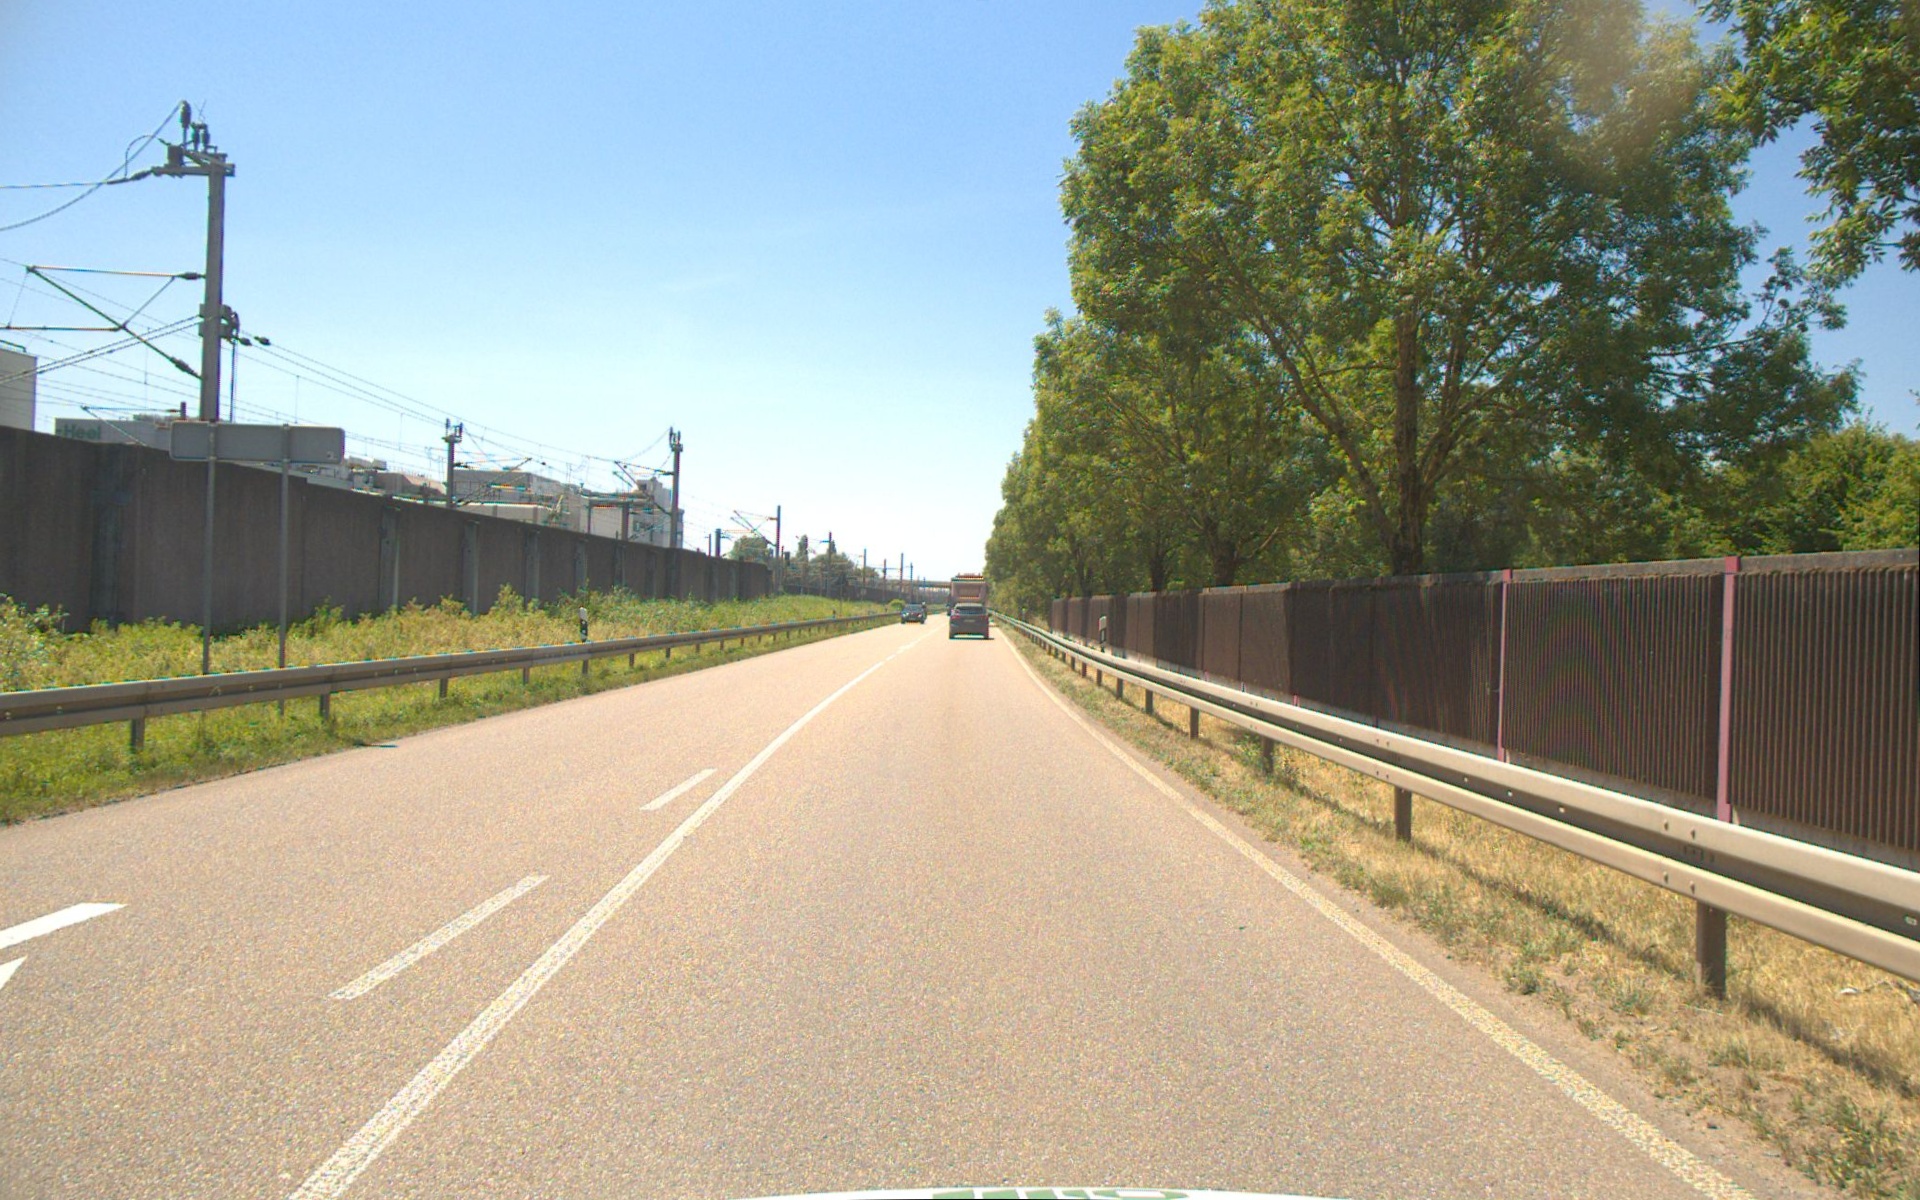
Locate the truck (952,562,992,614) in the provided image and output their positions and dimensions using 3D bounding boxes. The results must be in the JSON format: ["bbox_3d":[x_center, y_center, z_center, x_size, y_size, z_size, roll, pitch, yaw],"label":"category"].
[{"bbox_3d":[0.895,-0.795,119.777,2.713,3.485,10.819,1,0,0],"label":"truck"}]

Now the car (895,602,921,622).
[{"bbox_3d":[-4.045,0.927,128.746,1.953,1.534,3.998,1,0,-2],"label":"car"}]

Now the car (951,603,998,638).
[{"bbox_3d":[0.618,0.899,74.351,1.953,1.534,3.999,1,0,-2],"label":"car"}]
